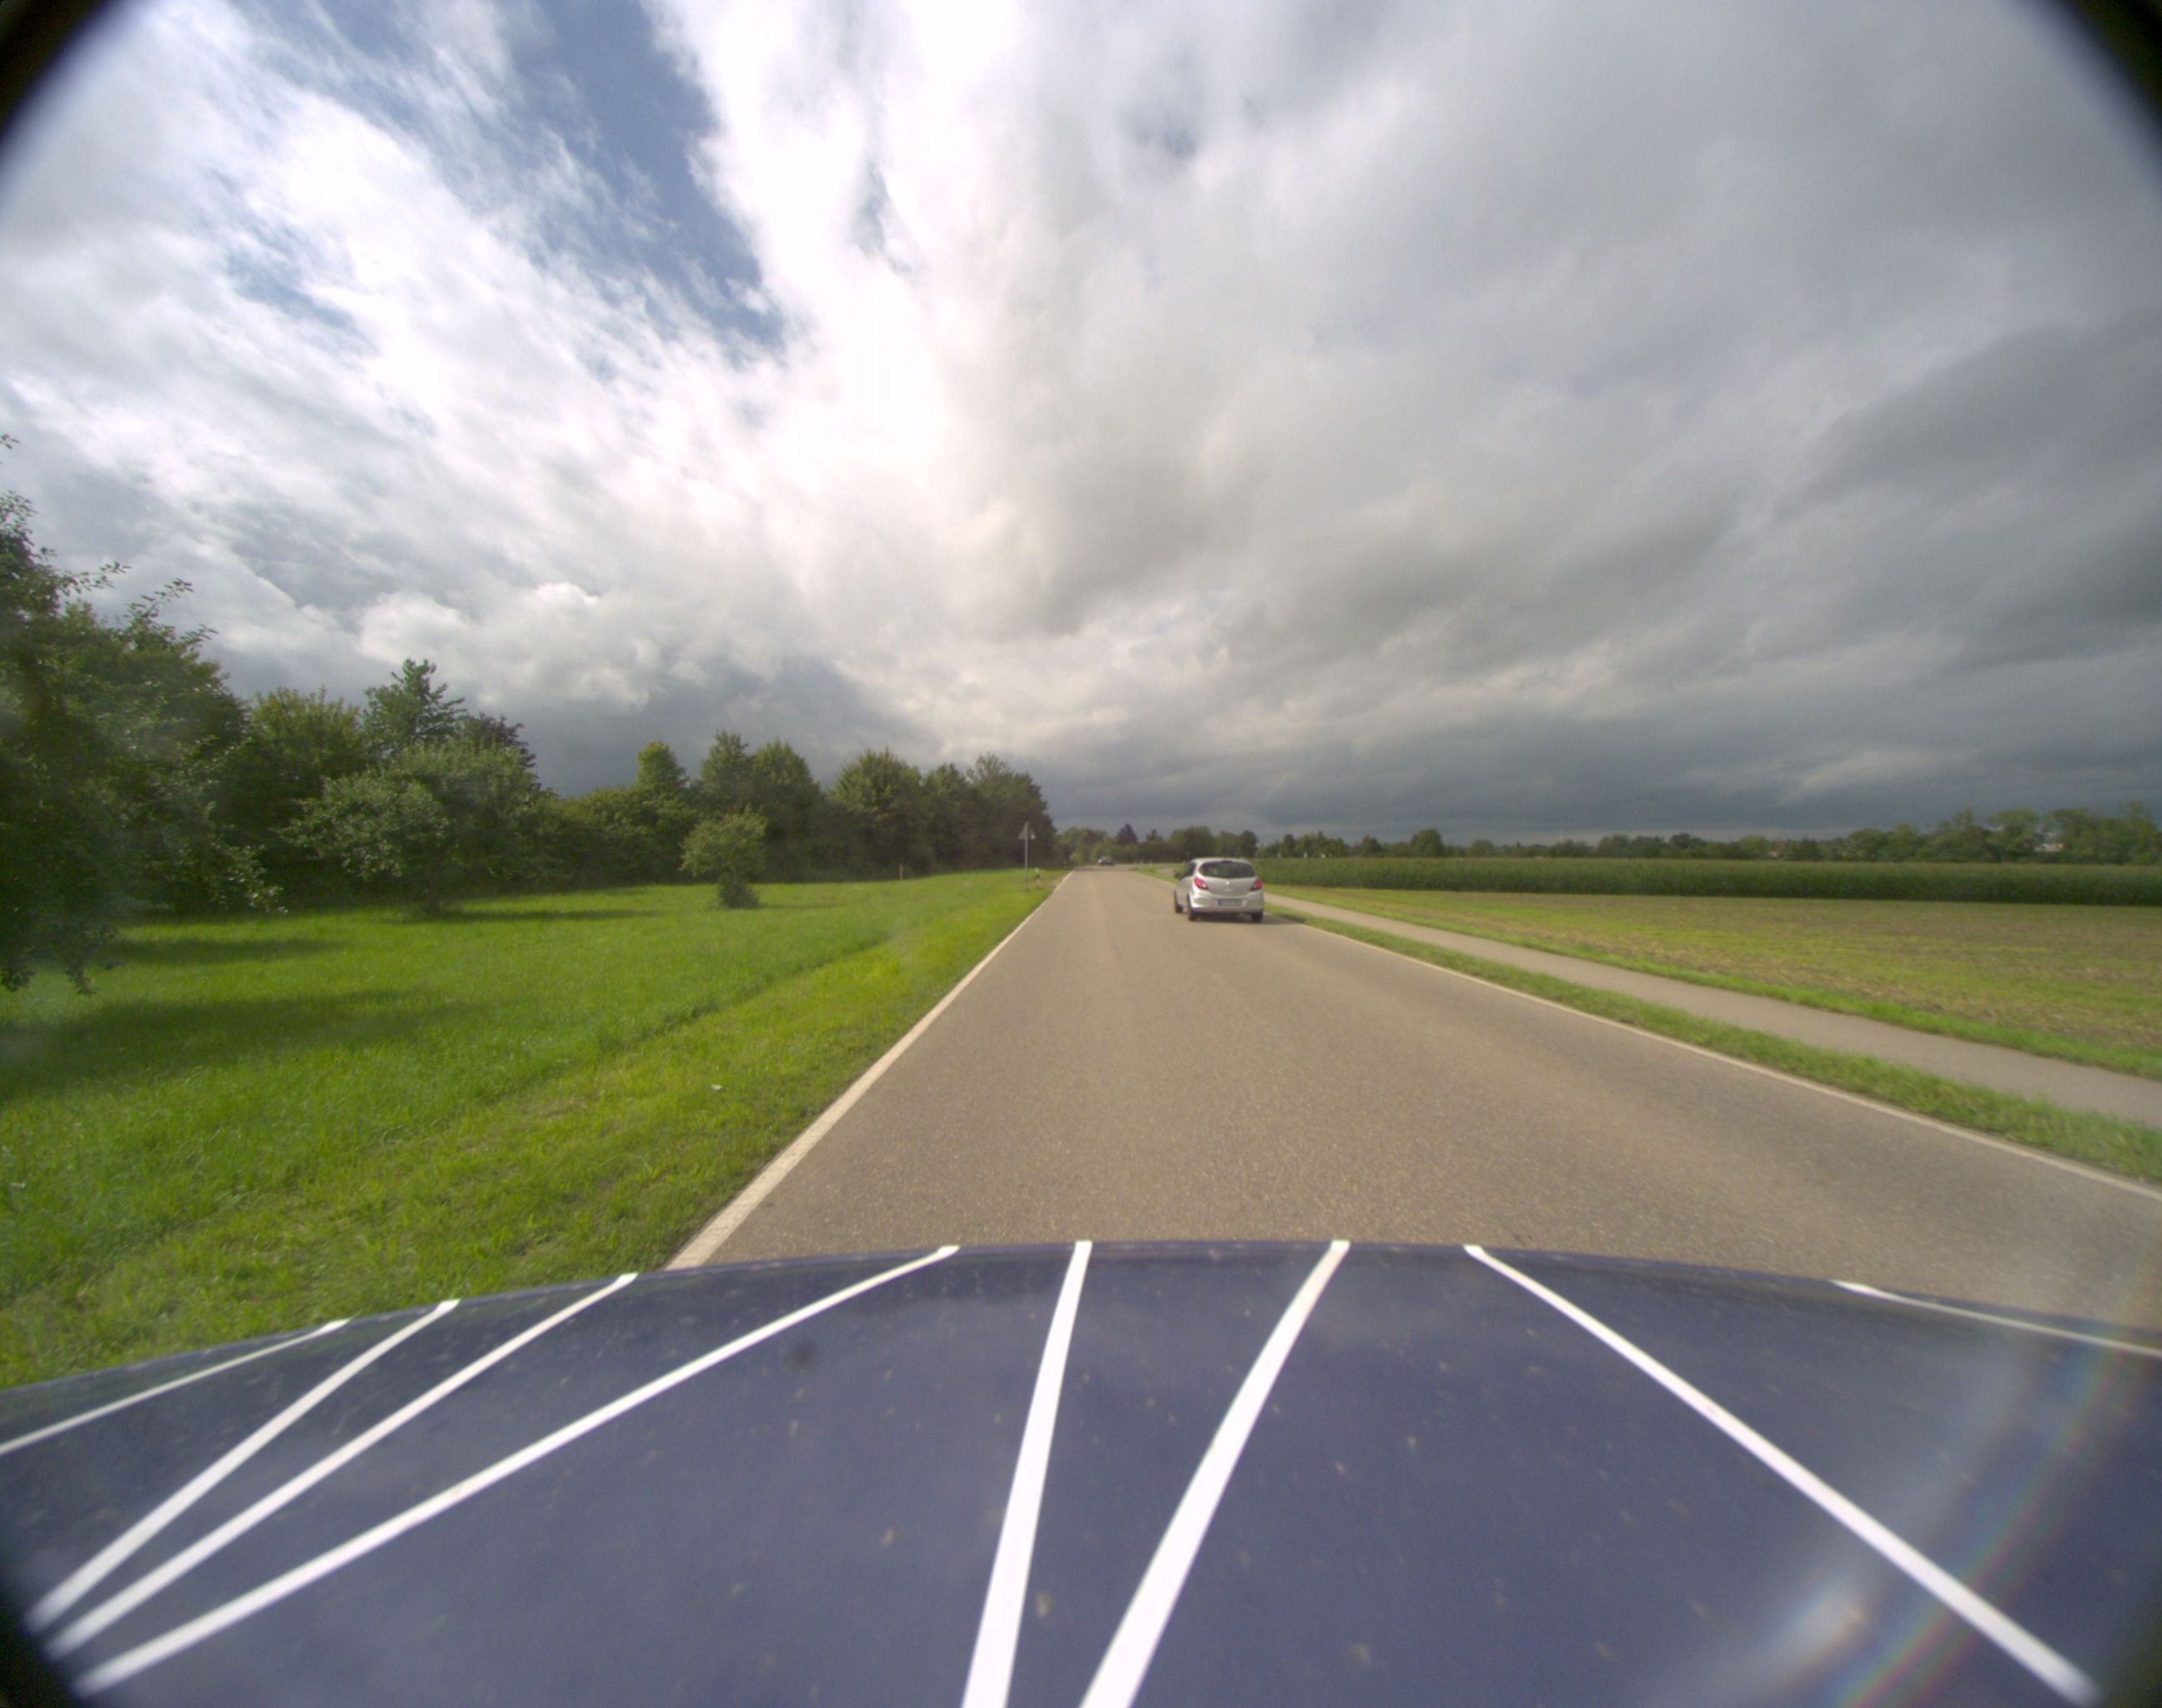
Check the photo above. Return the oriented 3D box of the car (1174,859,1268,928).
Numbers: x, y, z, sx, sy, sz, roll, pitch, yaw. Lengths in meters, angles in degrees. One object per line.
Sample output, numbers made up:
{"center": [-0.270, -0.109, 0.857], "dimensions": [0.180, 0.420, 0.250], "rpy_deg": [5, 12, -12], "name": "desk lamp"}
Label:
{"center": [3.304, 0.885, 18.531], "dimensions": [1.699, 1.450, 3.543], "rpy_deg": [0, 0, 1], "name": "car"}
